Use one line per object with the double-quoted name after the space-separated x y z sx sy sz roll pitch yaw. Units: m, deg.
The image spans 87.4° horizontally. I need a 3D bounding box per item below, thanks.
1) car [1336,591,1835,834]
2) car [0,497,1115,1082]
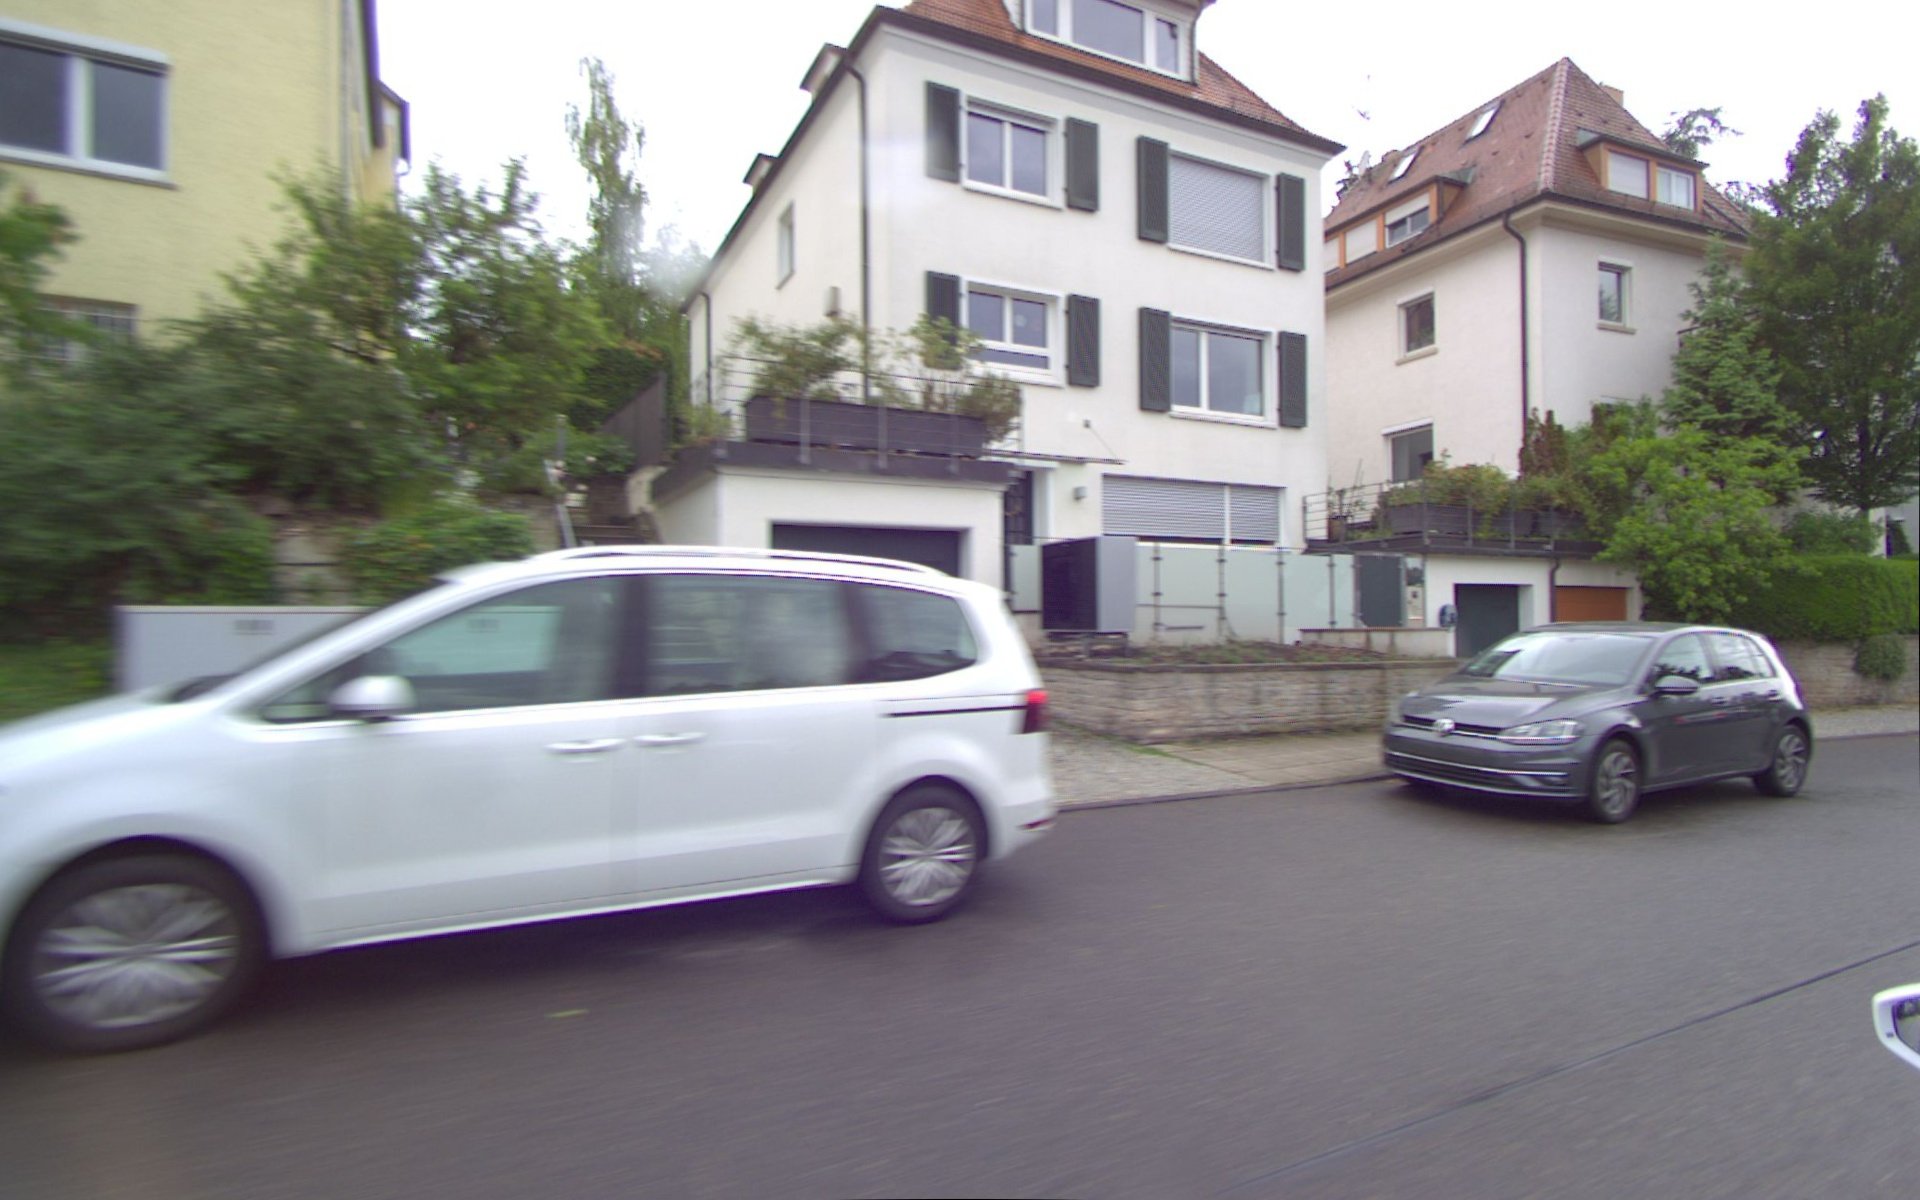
5.358 0.768 8.541 4.086 1.602 1.784 0 2 -28 "car"
-1.730 0.538 4.762 4.684 1.725 1.983 0 2 -31 "car"
